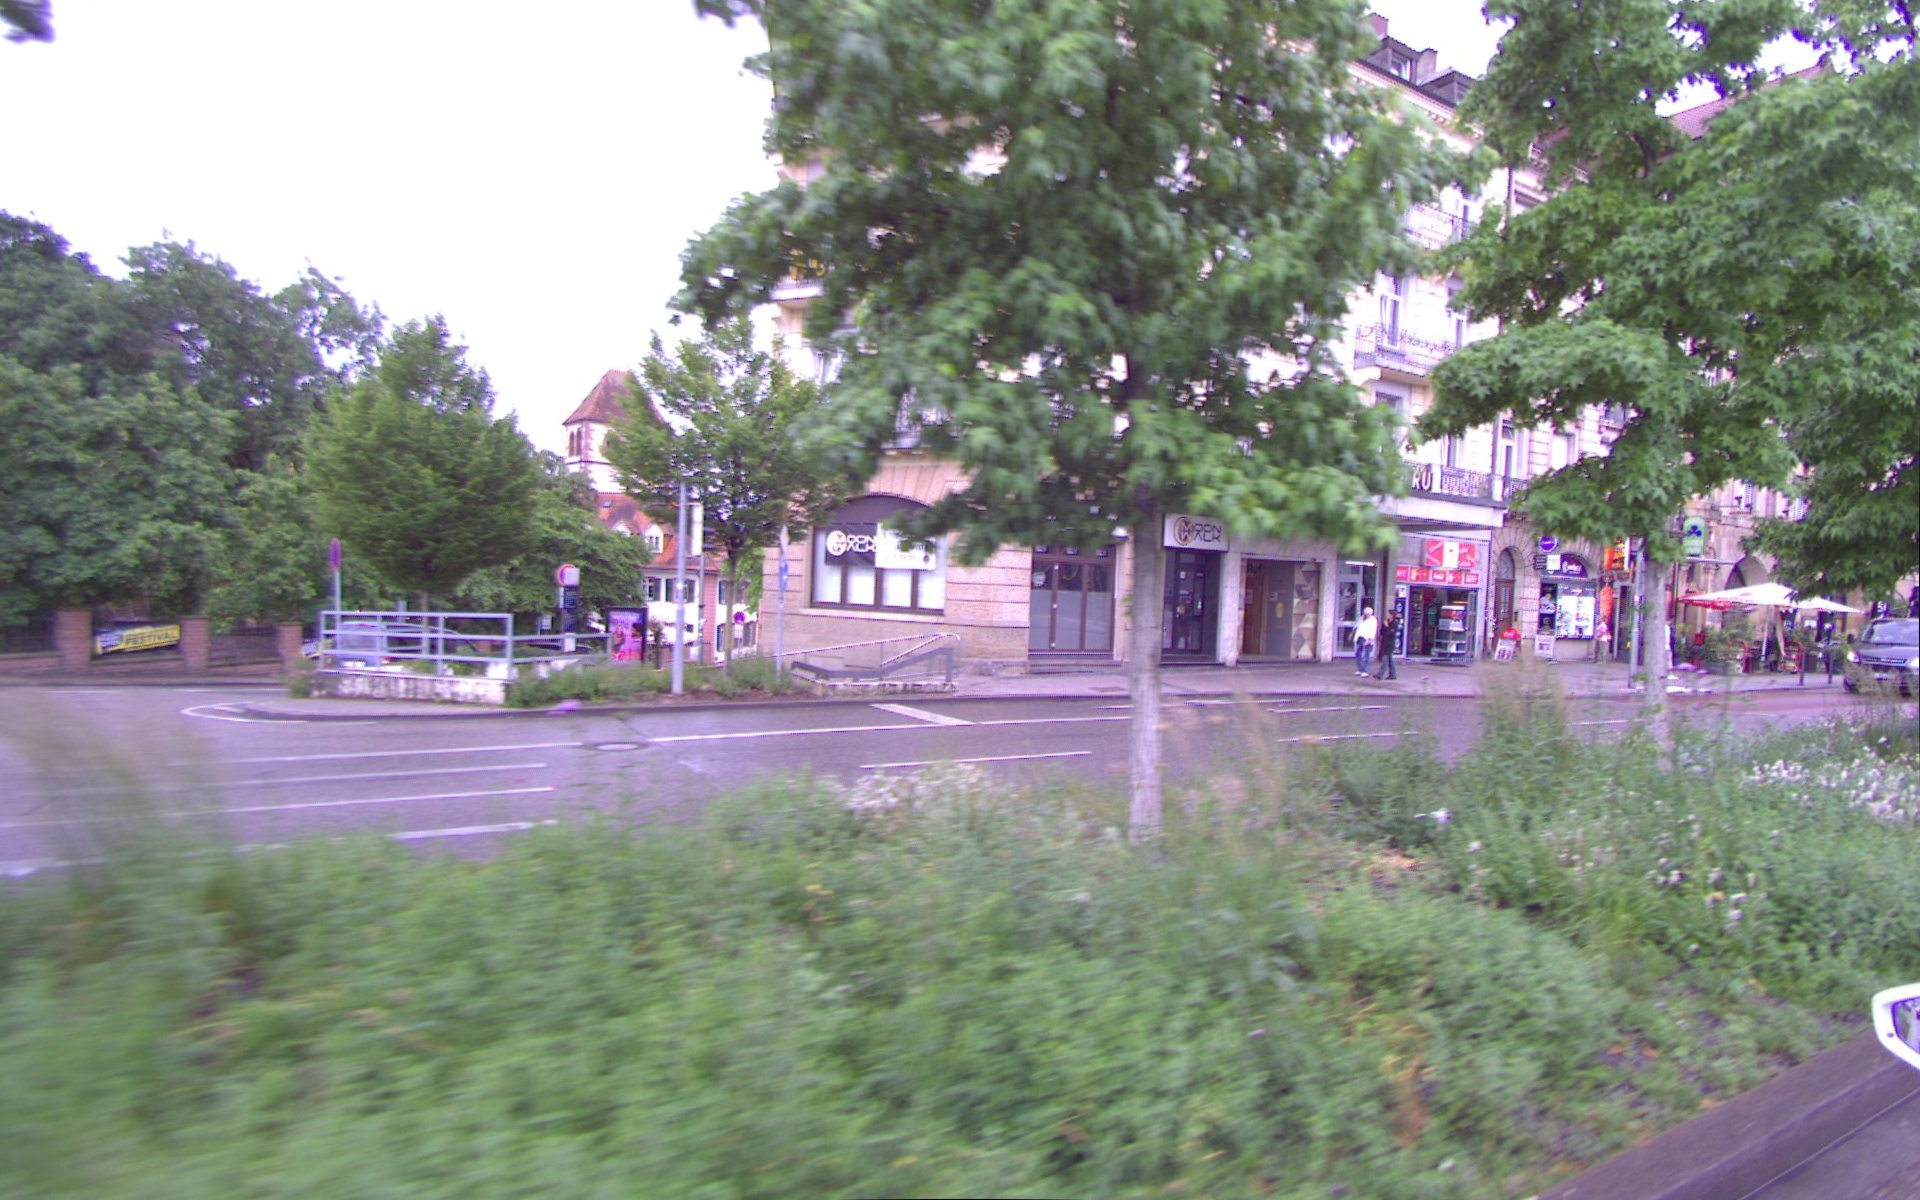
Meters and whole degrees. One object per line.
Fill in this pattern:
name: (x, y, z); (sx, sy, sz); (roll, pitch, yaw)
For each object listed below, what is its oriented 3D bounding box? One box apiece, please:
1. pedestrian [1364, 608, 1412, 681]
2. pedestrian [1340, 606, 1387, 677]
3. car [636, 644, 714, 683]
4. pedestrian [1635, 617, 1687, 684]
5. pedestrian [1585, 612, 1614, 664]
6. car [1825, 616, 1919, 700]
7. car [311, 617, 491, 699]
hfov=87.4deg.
pedestrian: (10.108, 1.037, 23.717); (0.797, 1.685, 0.678); (2, -2, -30)
pedestrian: (9.772, 0.993, 24.341); (0.797, 1.685, 0.679); (2, -2, -27)
car: (-11.893, 2.622, 42.189); (1.734, 1.498, 4.013); (1, -2, 6)
pedestrian: (20.034, 1.461, 28.704); (0.742, 1.835, 0.876); (2, -6, -30)
pedestrian: (21.034, 1.259, 33.055); (0.532, 1.685, 0.661); (2, -2, -38)
car: (24.994, 1.505, 26.296); (4.940, 2.040, 1.985); (2, -2, -29)
car: (-13.346, 1.315, 24.268); (1.602, 1.782, 4.003); (1, -1, 10)
